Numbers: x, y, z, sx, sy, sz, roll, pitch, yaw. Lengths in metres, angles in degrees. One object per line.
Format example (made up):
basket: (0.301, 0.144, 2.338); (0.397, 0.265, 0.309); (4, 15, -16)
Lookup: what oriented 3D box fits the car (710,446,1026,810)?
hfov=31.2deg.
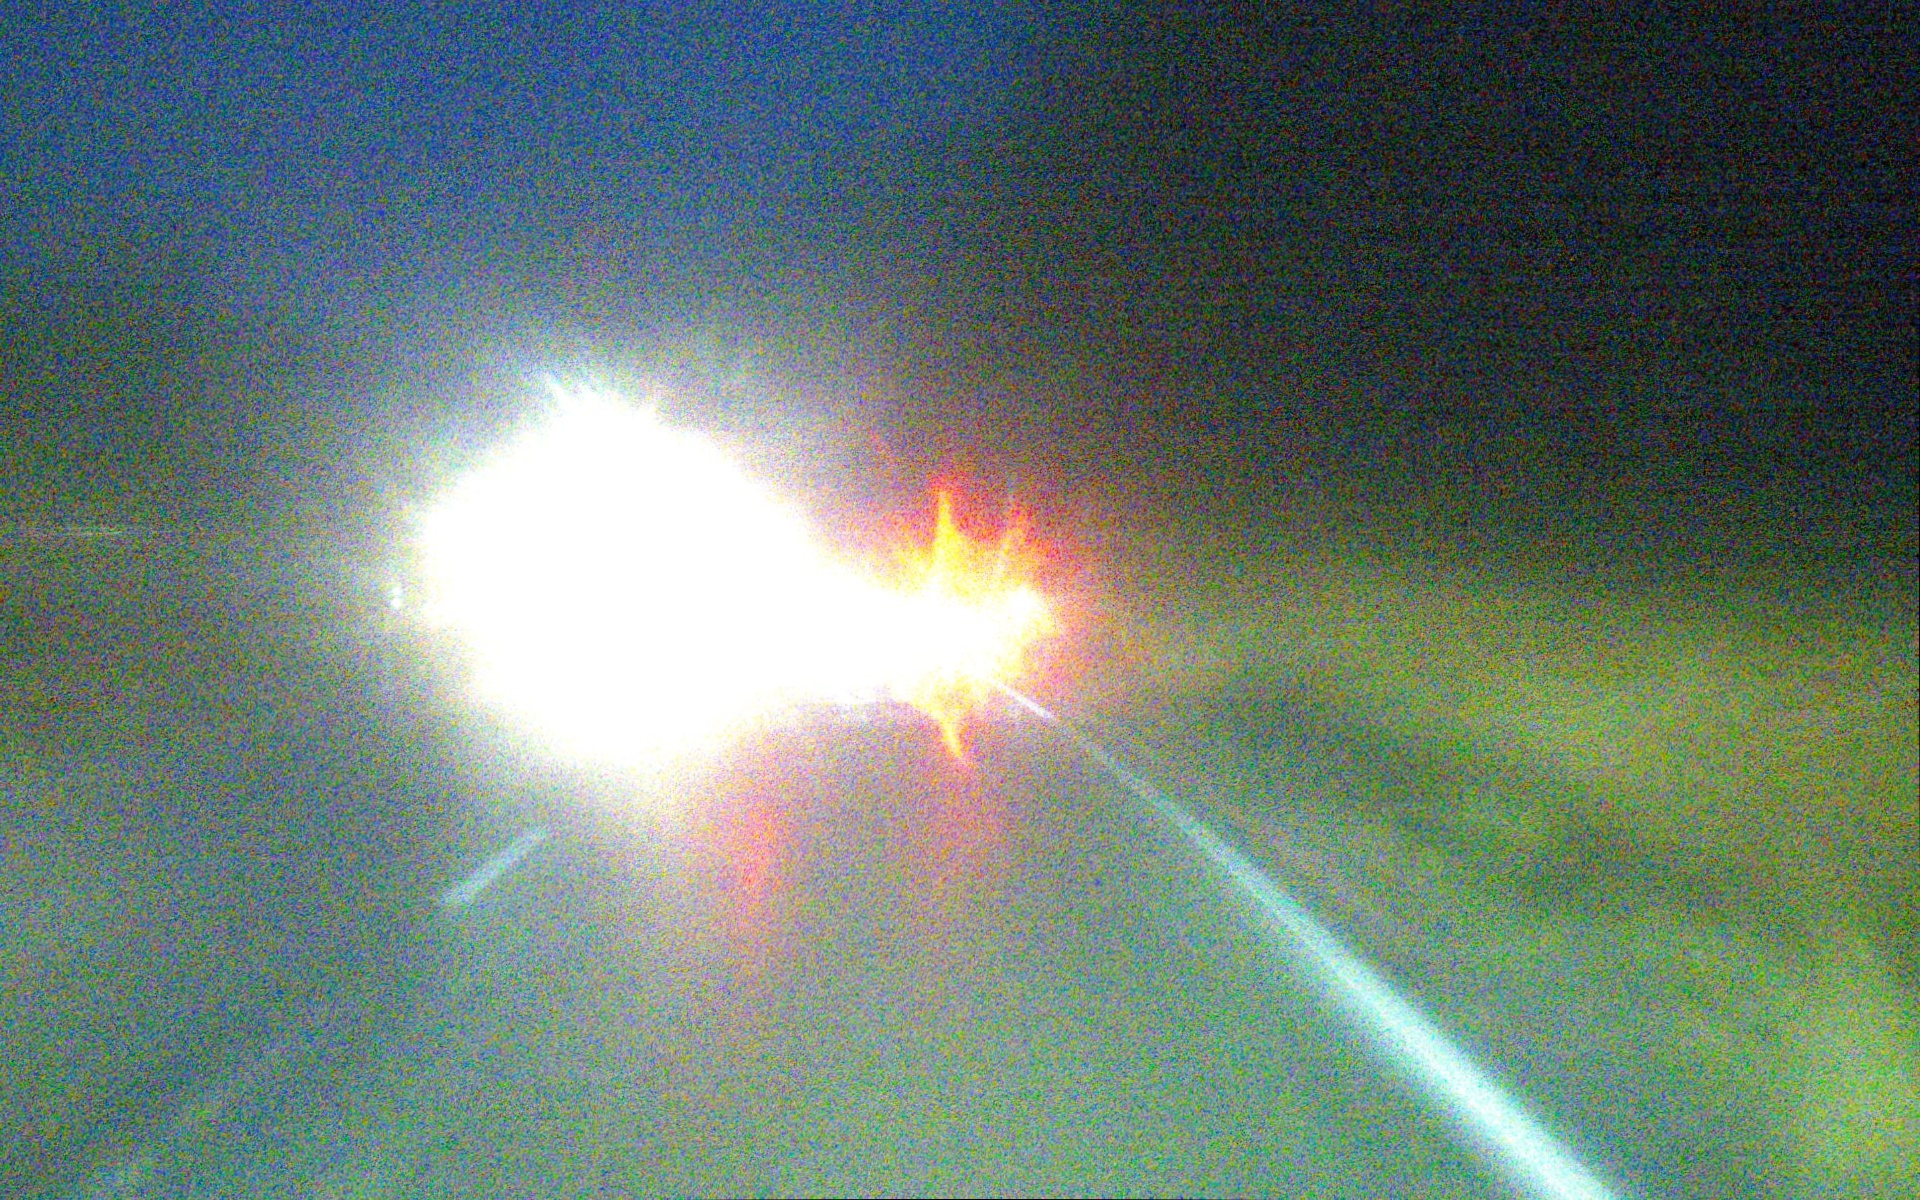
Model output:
car: (-0.734, 0.118, 27.254); (2.181, 2.548, 4.508); (3, 2, -2)
